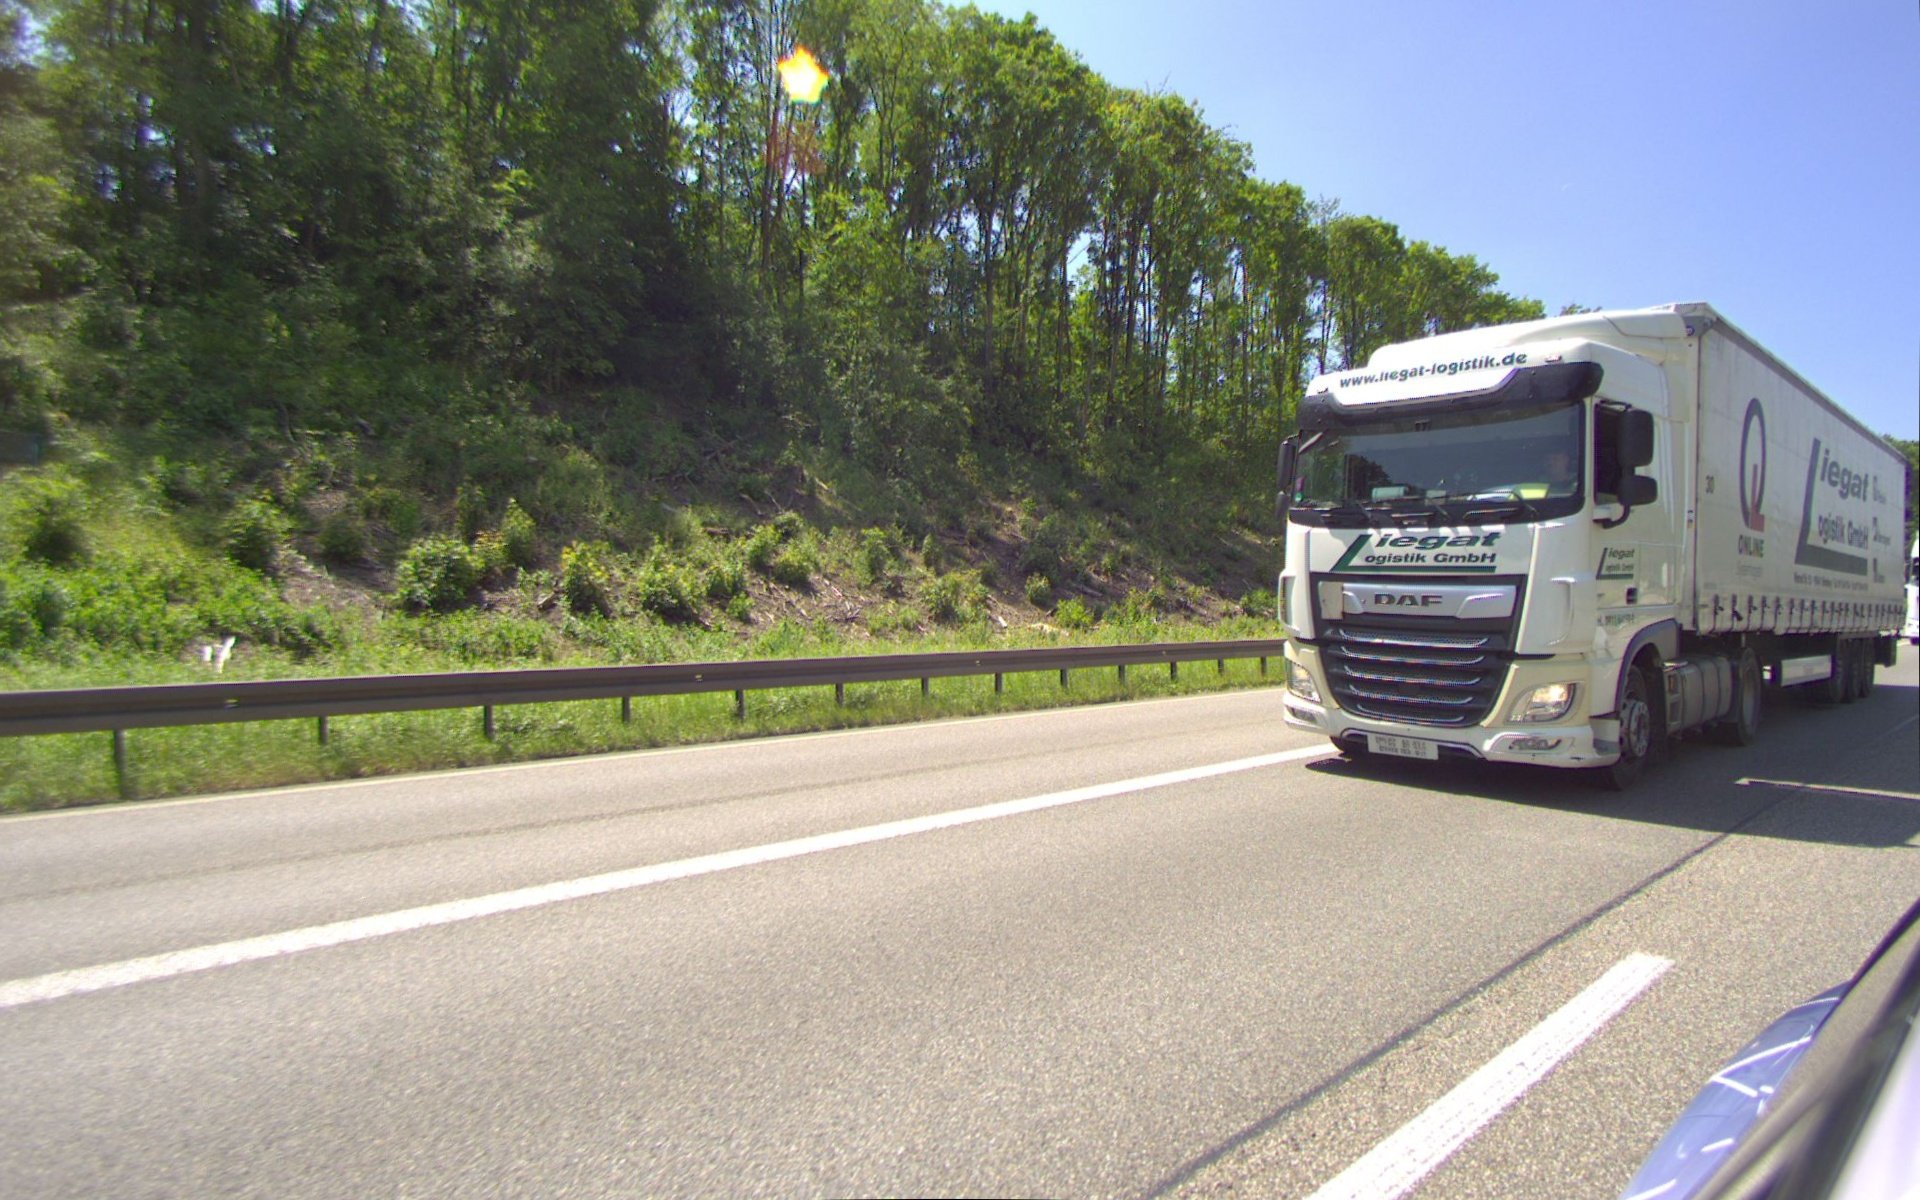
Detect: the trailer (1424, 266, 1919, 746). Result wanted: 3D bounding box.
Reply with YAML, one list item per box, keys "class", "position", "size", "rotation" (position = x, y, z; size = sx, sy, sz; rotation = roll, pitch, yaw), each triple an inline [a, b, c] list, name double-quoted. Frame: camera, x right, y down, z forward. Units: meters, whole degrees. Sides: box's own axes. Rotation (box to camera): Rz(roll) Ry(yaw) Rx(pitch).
- class: "trailer"
  position: [10.901, -0.779, 14.330]
  size: [13.011, 4.258, 2.790]
  rotation: [1, -1, -41]

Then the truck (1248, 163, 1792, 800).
- class: "truck"
  position: [5.611, -0.778, 9.720]
  size: [5.766, 4.258, 2.790]
  rotation: [1, -1, -41]

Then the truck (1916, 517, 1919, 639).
- class: "truck"
  position: [35.223, -0.764, 34.780]
  size: [6.506, 4.079, 2.542]
  rotation: [-1, 1, -39]
